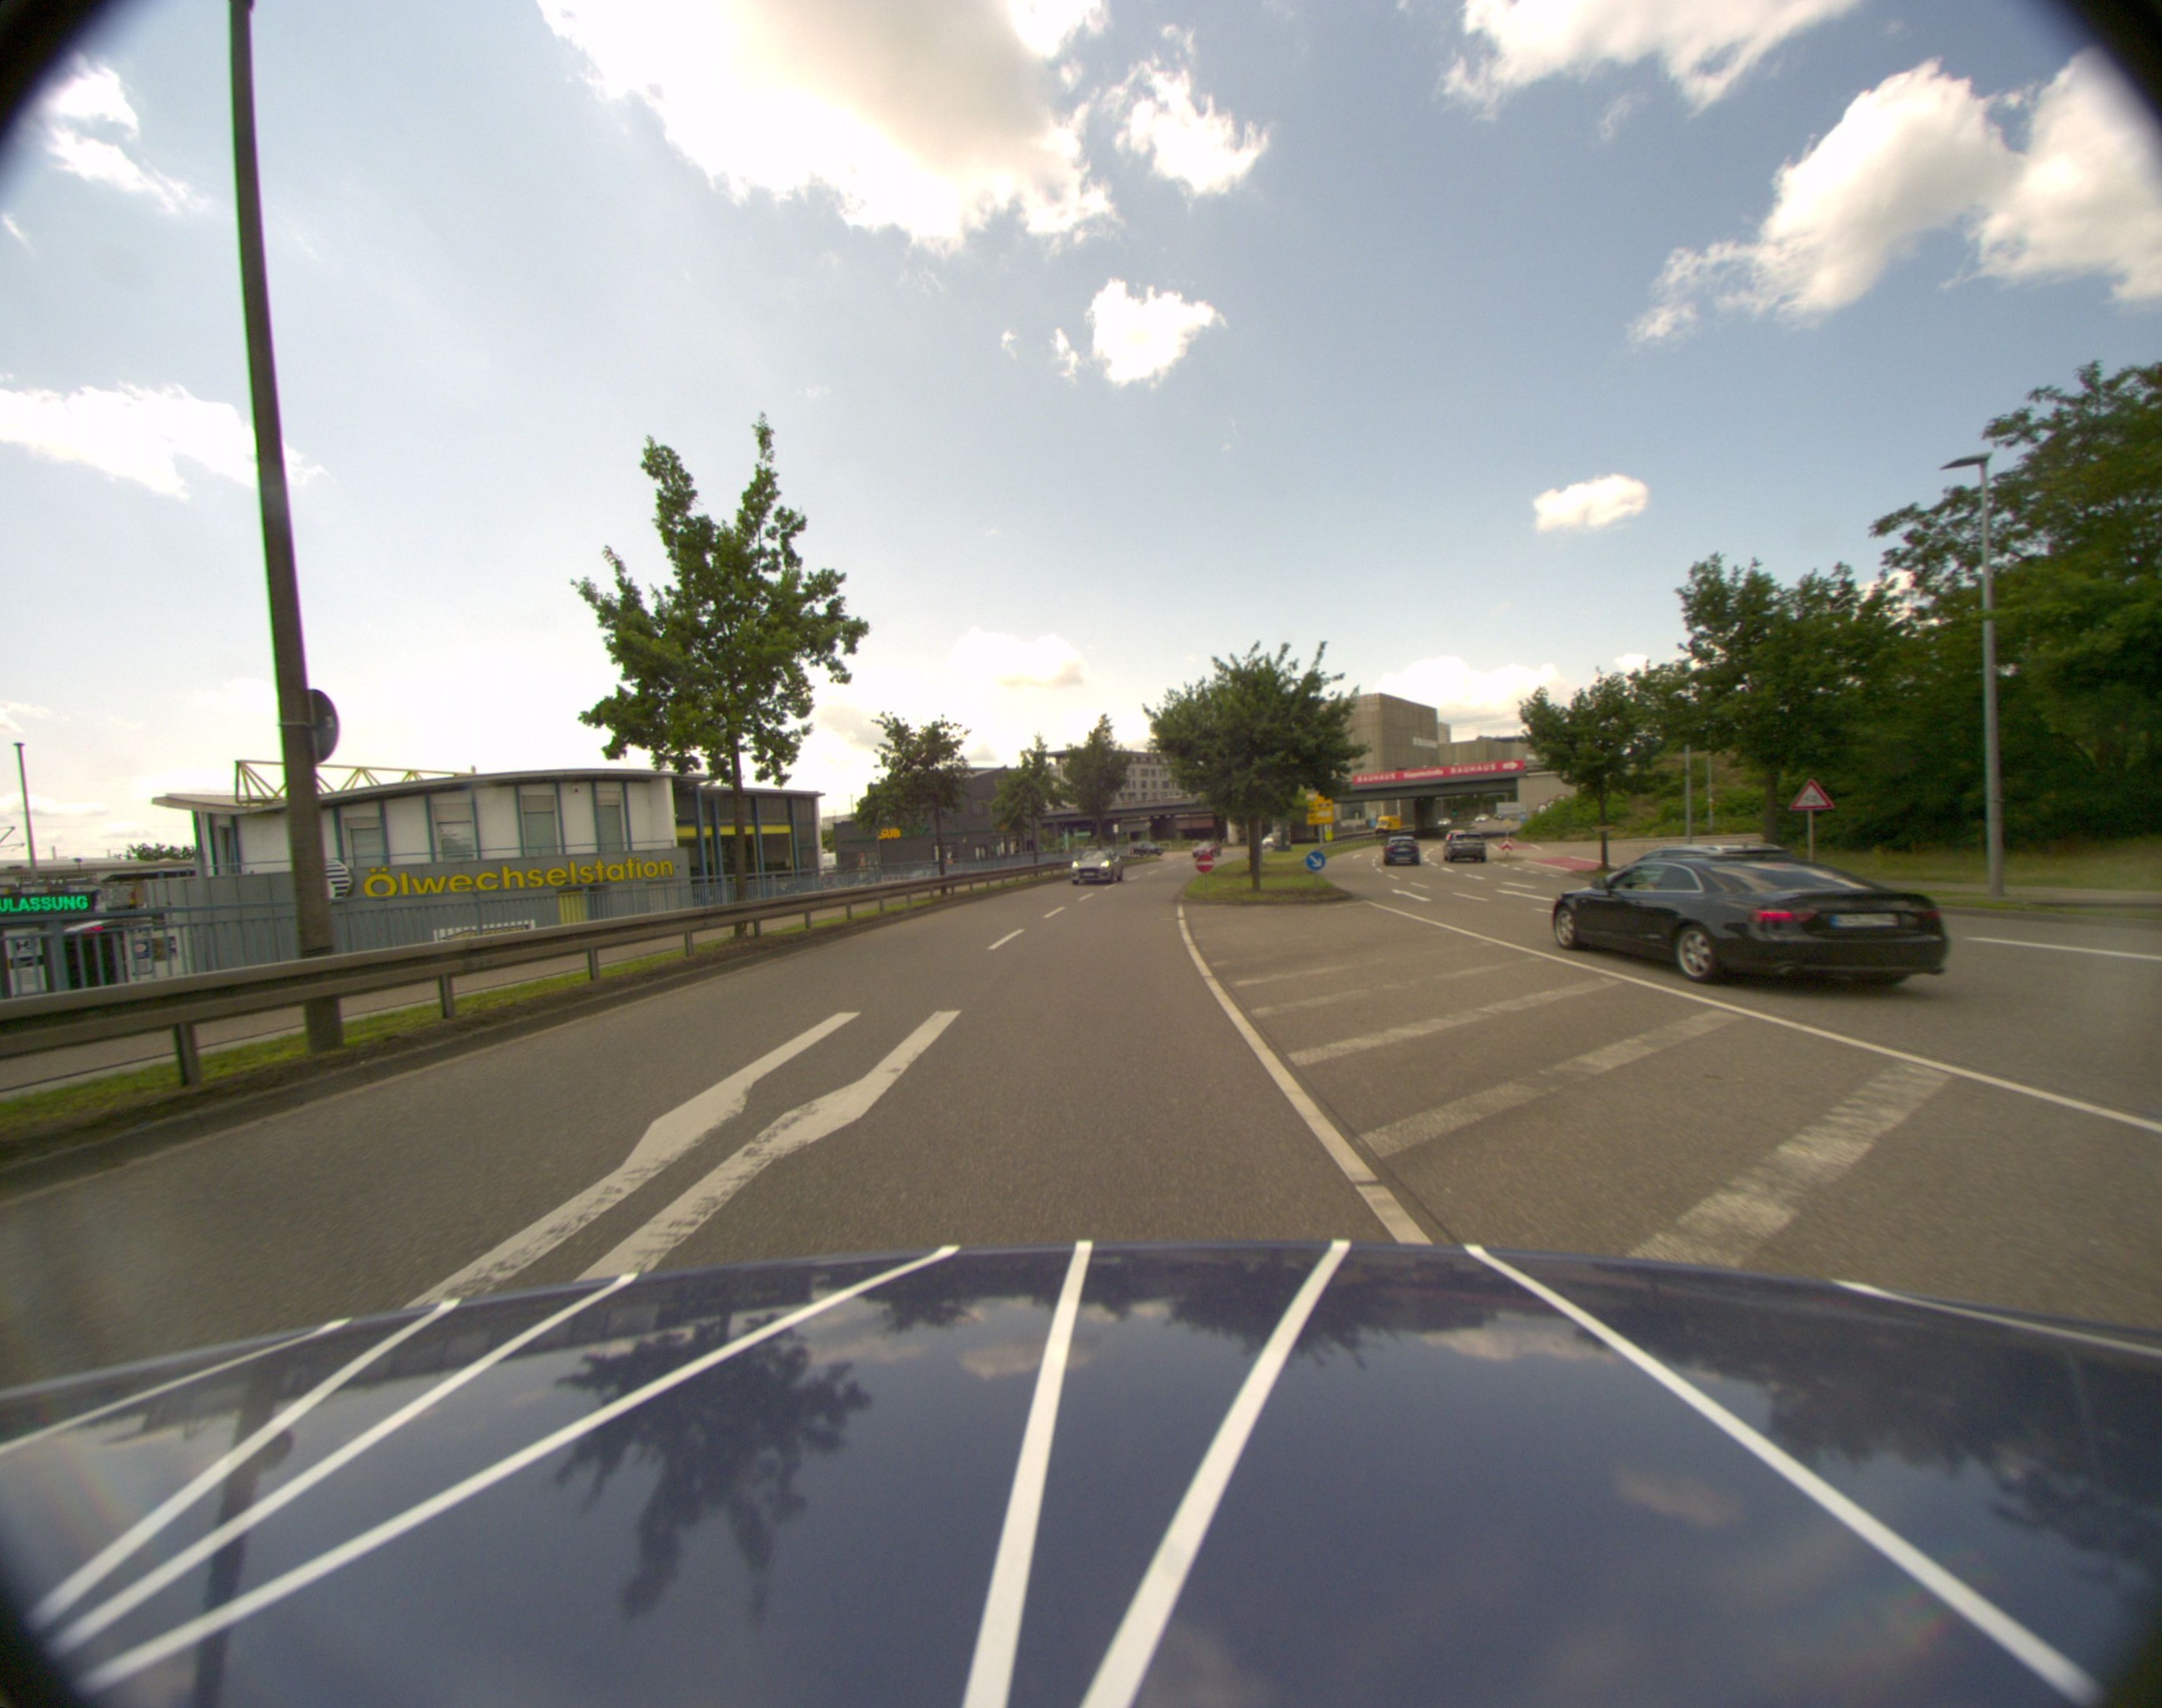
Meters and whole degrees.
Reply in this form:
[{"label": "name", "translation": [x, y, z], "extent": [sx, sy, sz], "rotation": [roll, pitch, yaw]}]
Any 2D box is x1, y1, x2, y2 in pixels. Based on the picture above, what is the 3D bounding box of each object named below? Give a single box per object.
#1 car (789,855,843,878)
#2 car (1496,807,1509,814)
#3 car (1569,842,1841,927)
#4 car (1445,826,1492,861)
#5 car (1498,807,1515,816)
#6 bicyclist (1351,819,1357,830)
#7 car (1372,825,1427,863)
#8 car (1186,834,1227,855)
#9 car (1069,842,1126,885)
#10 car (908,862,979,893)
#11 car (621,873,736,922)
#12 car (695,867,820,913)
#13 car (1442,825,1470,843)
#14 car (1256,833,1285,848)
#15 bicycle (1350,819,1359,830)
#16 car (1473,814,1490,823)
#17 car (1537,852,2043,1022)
[{"label": "car", "translation": [-16.833, 0.759, 48.114], "extent": [2.003, 1.278, 4.367], "rotation": [-4, 2, -36]}, {"label": "car", "translation": [89.387, -9.221, 161.102], "extent": [1.779, 1.488, 3.604], "rotation": [-1, 4, 40]}, {"label": "car", "translation": [12.131, 0.517, 15.297], "extent": [1.997, 1.388, 4.702], "rotation": [-2, 0, 7]}, {"label": "car", "translation": [23.057, -0.650, 45.358], "extent": [1.995, 1.851, 4.720], "rotation": [-2, 2, 22]}, {"label": "car", "translation": [85.577, -8.512, 152.672], "extent": [1.995, 1.407, 4.839], "rotation": [-3, 2, 40]}, {"label": "bicyclist", "translation": [48.127, -5.229, 133.923], "extent": [0.715, 1.759, 0.990], "rotation": [-1, 4, 37]}, {"label": "car", "translation": [18.630, -0.539, 44.701], "extent": [1.997, 2.002, 4.822], "rotation": [-3, 0, 12]}, {"label": "car", "translation": [12.036, -0.912, 72.719], "extent": [1.995, 1.548, 4.289], "rotation": [-3, 2, 38]}, {"label": "car", "translation": [0.800, 0.378, 34.121], "extent": [1.822, 1.565, 3.956], "rotation": [-5, 1, 11]}, {"label": "car", "translation": [-7.632, 1.278, 42.580], "extent": [1.996, 1.351, 4.753], "rotation": [-2, 1, 15]}, {"label": "car", "translation": [-20.444, 2.191, 38.616], "extent": [4.779, 2.002, 2.234], "rotation": [-4, 1, 15]}, {"label": "car", "translation": [-17.471, 1.936, 41.097], "extent": [5.812, 2.003, 2.233], "rotation": [-3, 3, 11]}, {"label": "car", "translation": [34.661, -1.883, 70.284], "extent": [1.995, 1.524, 4.336], "rotation": [0, 3, 22]}, {"label": "car", "translation": [21.909, -1.615, 87.694], "extent": [1.709, 1.488, 3.656], "rotation": [-1, 4, 40]}, {"label": "bicycle", "translation": [48.255, -5.185, 134.095], "extent": [0.720, 1.764, 2.537], "rotation": [-1, 4, 37]}, {"label": "car", "translation": [79.387, -7.104, 150.589], "extent": [1.916, 1.406, 4.302], "rotation": [-5, 1, 40]}, {"label": "car", "translation": [7.433, 0.715, 8.814], "extent": [1.907, 1.356, 4.576], "rotation": [-1, 1, 6]}]
